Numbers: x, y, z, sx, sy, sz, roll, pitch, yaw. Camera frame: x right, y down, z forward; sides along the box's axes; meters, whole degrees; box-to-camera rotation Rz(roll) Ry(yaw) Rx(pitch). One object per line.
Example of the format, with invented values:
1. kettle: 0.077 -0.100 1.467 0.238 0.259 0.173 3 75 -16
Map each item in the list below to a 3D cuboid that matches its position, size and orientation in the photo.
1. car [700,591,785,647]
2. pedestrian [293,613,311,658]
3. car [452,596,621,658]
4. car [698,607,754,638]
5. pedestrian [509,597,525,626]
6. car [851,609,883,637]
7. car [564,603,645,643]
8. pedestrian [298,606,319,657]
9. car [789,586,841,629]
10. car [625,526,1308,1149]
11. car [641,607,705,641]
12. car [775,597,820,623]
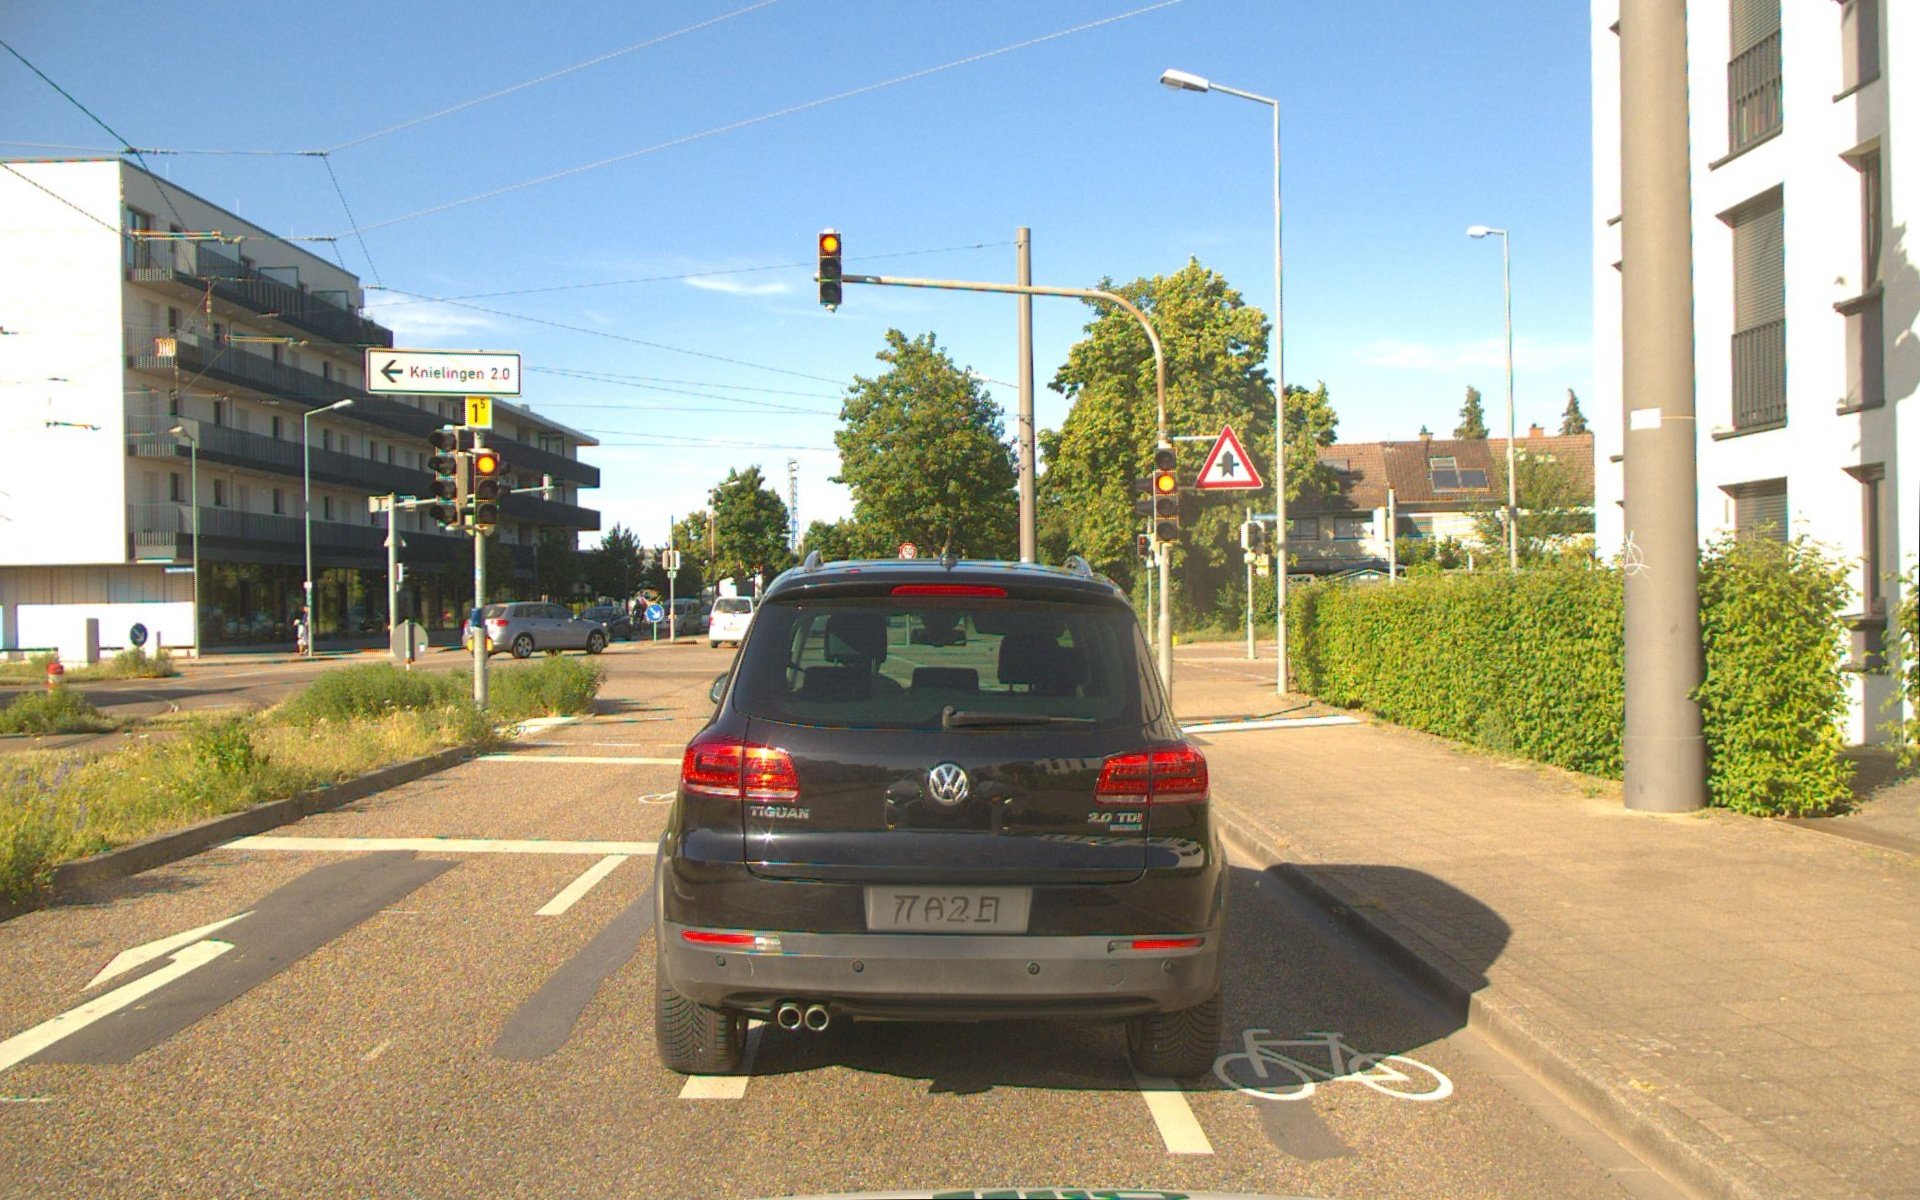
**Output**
1. car: -7.085 0.585 54.227 1.824 1.750 3.690 0 0 8
2. pedestrian: -22.928 1.231 57.626 0.433 1.529 0.517 1 -1 -6
3. car: -11.034 0.684 43.291 1.832 1.511 4.096 -1 0 35
4. car: -12.504 1.183 88.629 1.951 1.601 4.342 1 0 7
5. pedestrian: -23.580 0.622 88.075 0.629 1.535 0.596 1 -1 0
6. car: -6.073 1.491 108.612 1.953 1.713 3.998 1 0 -2
7. car: -15.322 0.977 71.498 1.951 1.601 4.343 1 0 9
8. pedestrian: -22.949 1.097 58.251 0.532 1.774 0.517 1 -1 -6
9. car: -6.553 0.353 74.910 1.953 1.869 4.000 1 0 0
10. car: -0.006 0.656 6.493 1.831 1.666 3.999 1 0 -1
11. car: -14.151 1.176 81.776 1.951 1.601 4.342 1 0 7
12. car: -10.339 0.641 105.795 1.951 1.601 4.342 1 0 7
